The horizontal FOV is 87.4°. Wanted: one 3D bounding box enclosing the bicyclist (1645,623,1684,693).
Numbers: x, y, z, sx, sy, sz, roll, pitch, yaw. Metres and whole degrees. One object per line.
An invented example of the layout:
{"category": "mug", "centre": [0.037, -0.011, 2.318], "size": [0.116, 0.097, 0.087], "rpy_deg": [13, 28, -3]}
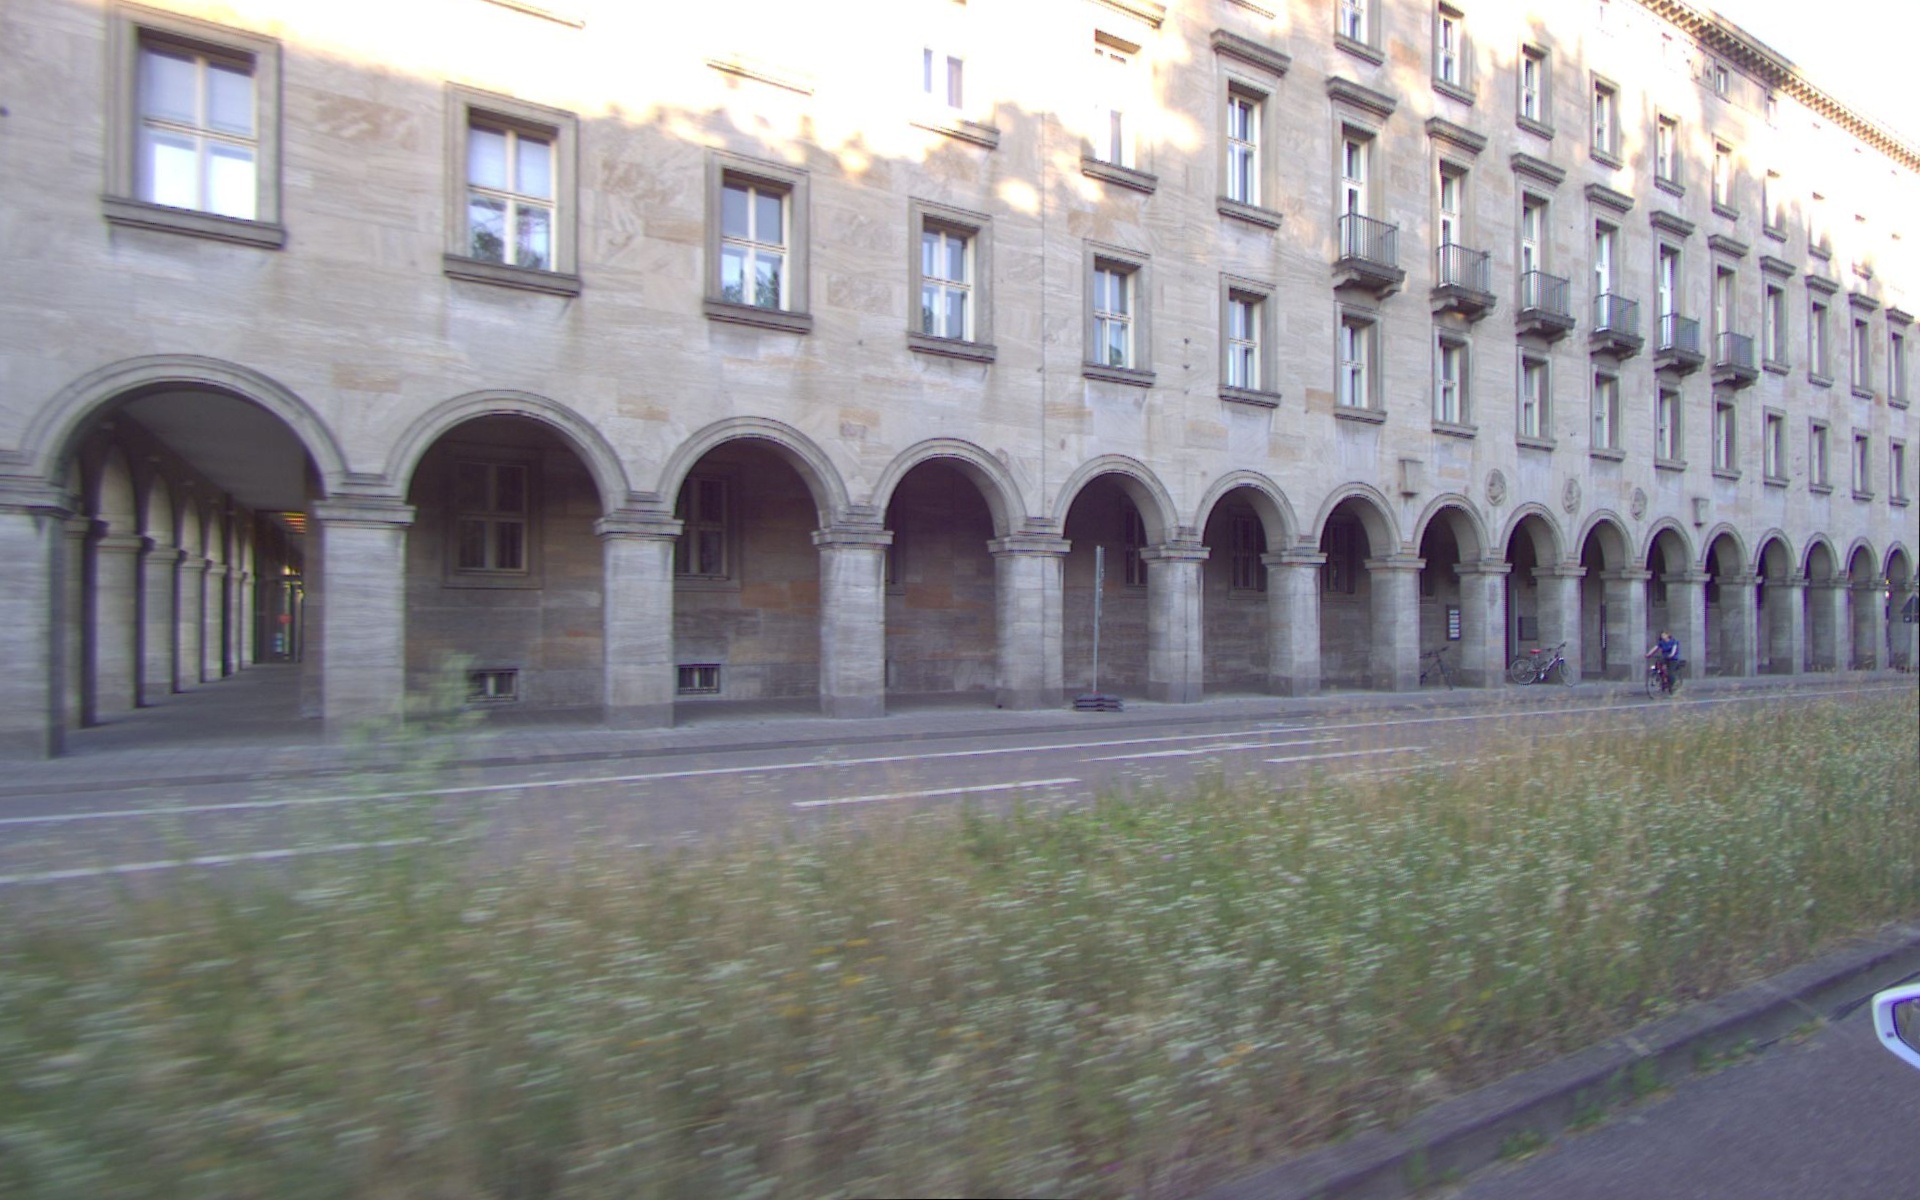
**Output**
{"category": "bicyclist", "centre": [17.779, 1.454, 25.349], "size": [0.739, 1.715, 0.534], "rpy_deg": [1, -2, -30]}

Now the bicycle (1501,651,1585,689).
{"category": "bicycle", "centre": [16.002, 1.909, 27.604], "size": [1.964, 1.019, 0.479], "rpy_deg": [0, -1, 6]}

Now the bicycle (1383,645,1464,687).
{"category": "bicycle", "centre": [11.635, 1.649, 25.218], "size": [1.970, 1.019, 0.478], "rpy_deg": [1, -1, -12]}

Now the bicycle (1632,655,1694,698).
{"category": "bicycle", "centre": [17.726, 1.912, 25.315], "size": [1.982, 1.019, 0.539], "rpy_deg": [1, -2, -31]}
